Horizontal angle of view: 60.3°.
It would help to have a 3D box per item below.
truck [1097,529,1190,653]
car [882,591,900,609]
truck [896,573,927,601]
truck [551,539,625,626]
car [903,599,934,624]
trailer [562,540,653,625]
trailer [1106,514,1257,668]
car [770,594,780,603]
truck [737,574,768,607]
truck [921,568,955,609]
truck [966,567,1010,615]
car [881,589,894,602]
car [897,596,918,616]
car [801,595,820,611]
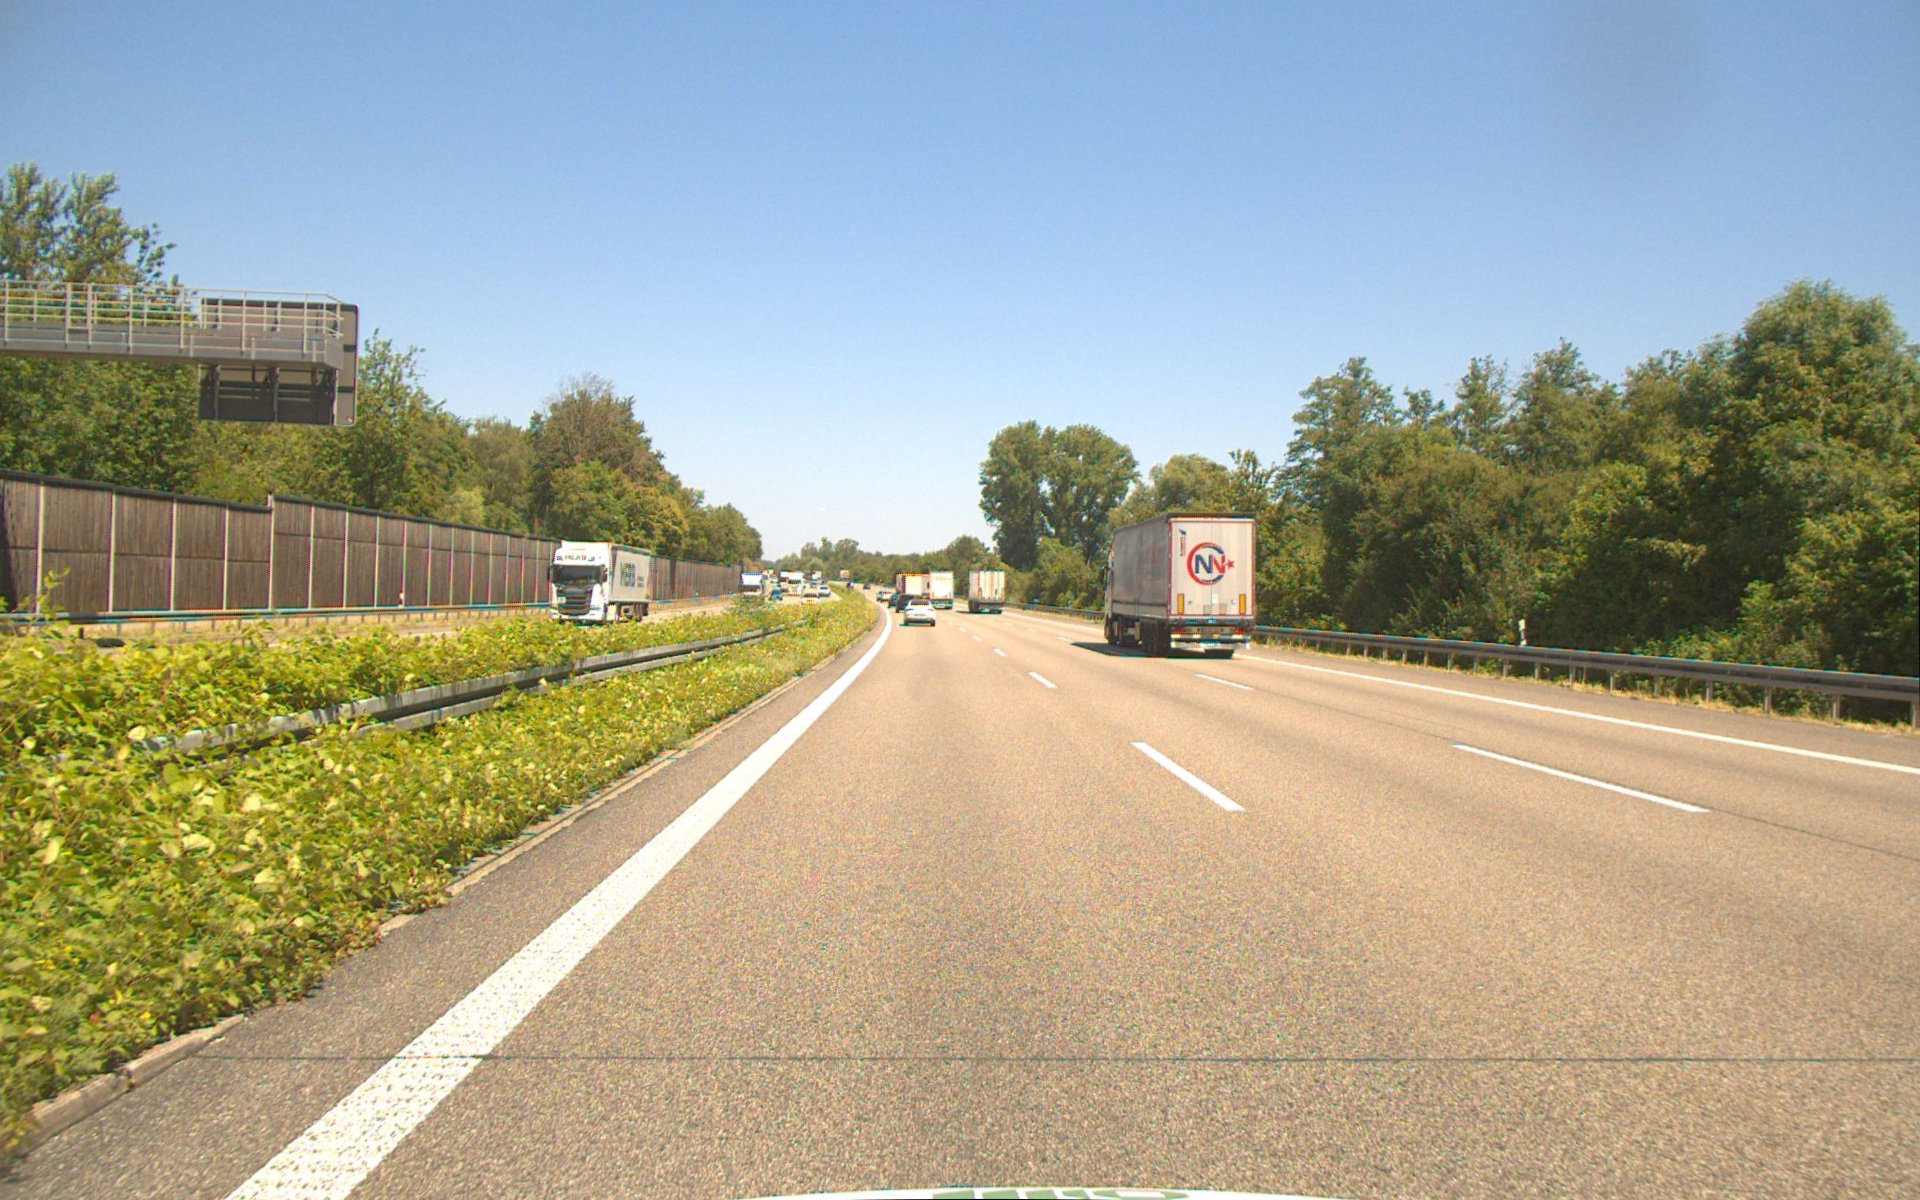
[{"bbox_3d":[6.696,-0.319,61.078,2.553,4.362,5.433,1,0,-2],"label":"truck"},{"bbox_3d":[-7.875,0.004,188.480,1.954,2.049,3.997,1,0,-4],"label":"car"},{"bbox_3d":[-7.666,-2.022,260.837,3.512,4.386,12.169,1,0,-8],"label":"truck"},{"bbox_3d":[-18.536,-0.863,82.703,2.469,4.137,6.367,1,0,-3],"label":"truck"},{"bbox_3d":[-2.337,0.628,94.460,1.680,1.393,3.374,1,0,-1],"label":"car"},{"bbox_3d":[-18.812,-0.871,89.173,2.434,4.208,13.647,1,0,-2],"label":"trailer"},{"bbox_3d":[6.930,-0.250,54.066,2.571,4.335,14.055,1,0,-2],"label":"trailer"},{"bbox_3d":[-26.913,-0.292,240.184,1.254,1.277,3.026,1,0,-4],"label":"car"},{"bbox_3d":[-23.902,-1.064,191.132,2.776,3.672,8.740,1,0,-2],"label":"truck"},{"bbox_3d":[-2.527,-1.279,183.250,3.293,4.386,10.822,1,0,-3],"label":"truck"},{"bbox_3d":[2.569,-0.842,156.910,3.423,4.386,10.981,1,0,-3],"label":"truck"},{"bbox_3d":[-10.476,-0.620,239.196,1.689,1.814,3.997,1,0,-4],"label":"car"},{"bbox_3d":[-4.885,0.553,153.933,1.953,1.803,3.998,1,0,-2],"label":"car"},{"bbox_3d":[-14.979,0.279,165.788,1.551,1.616,3.999,1,0,-1],"label":"car"}]
